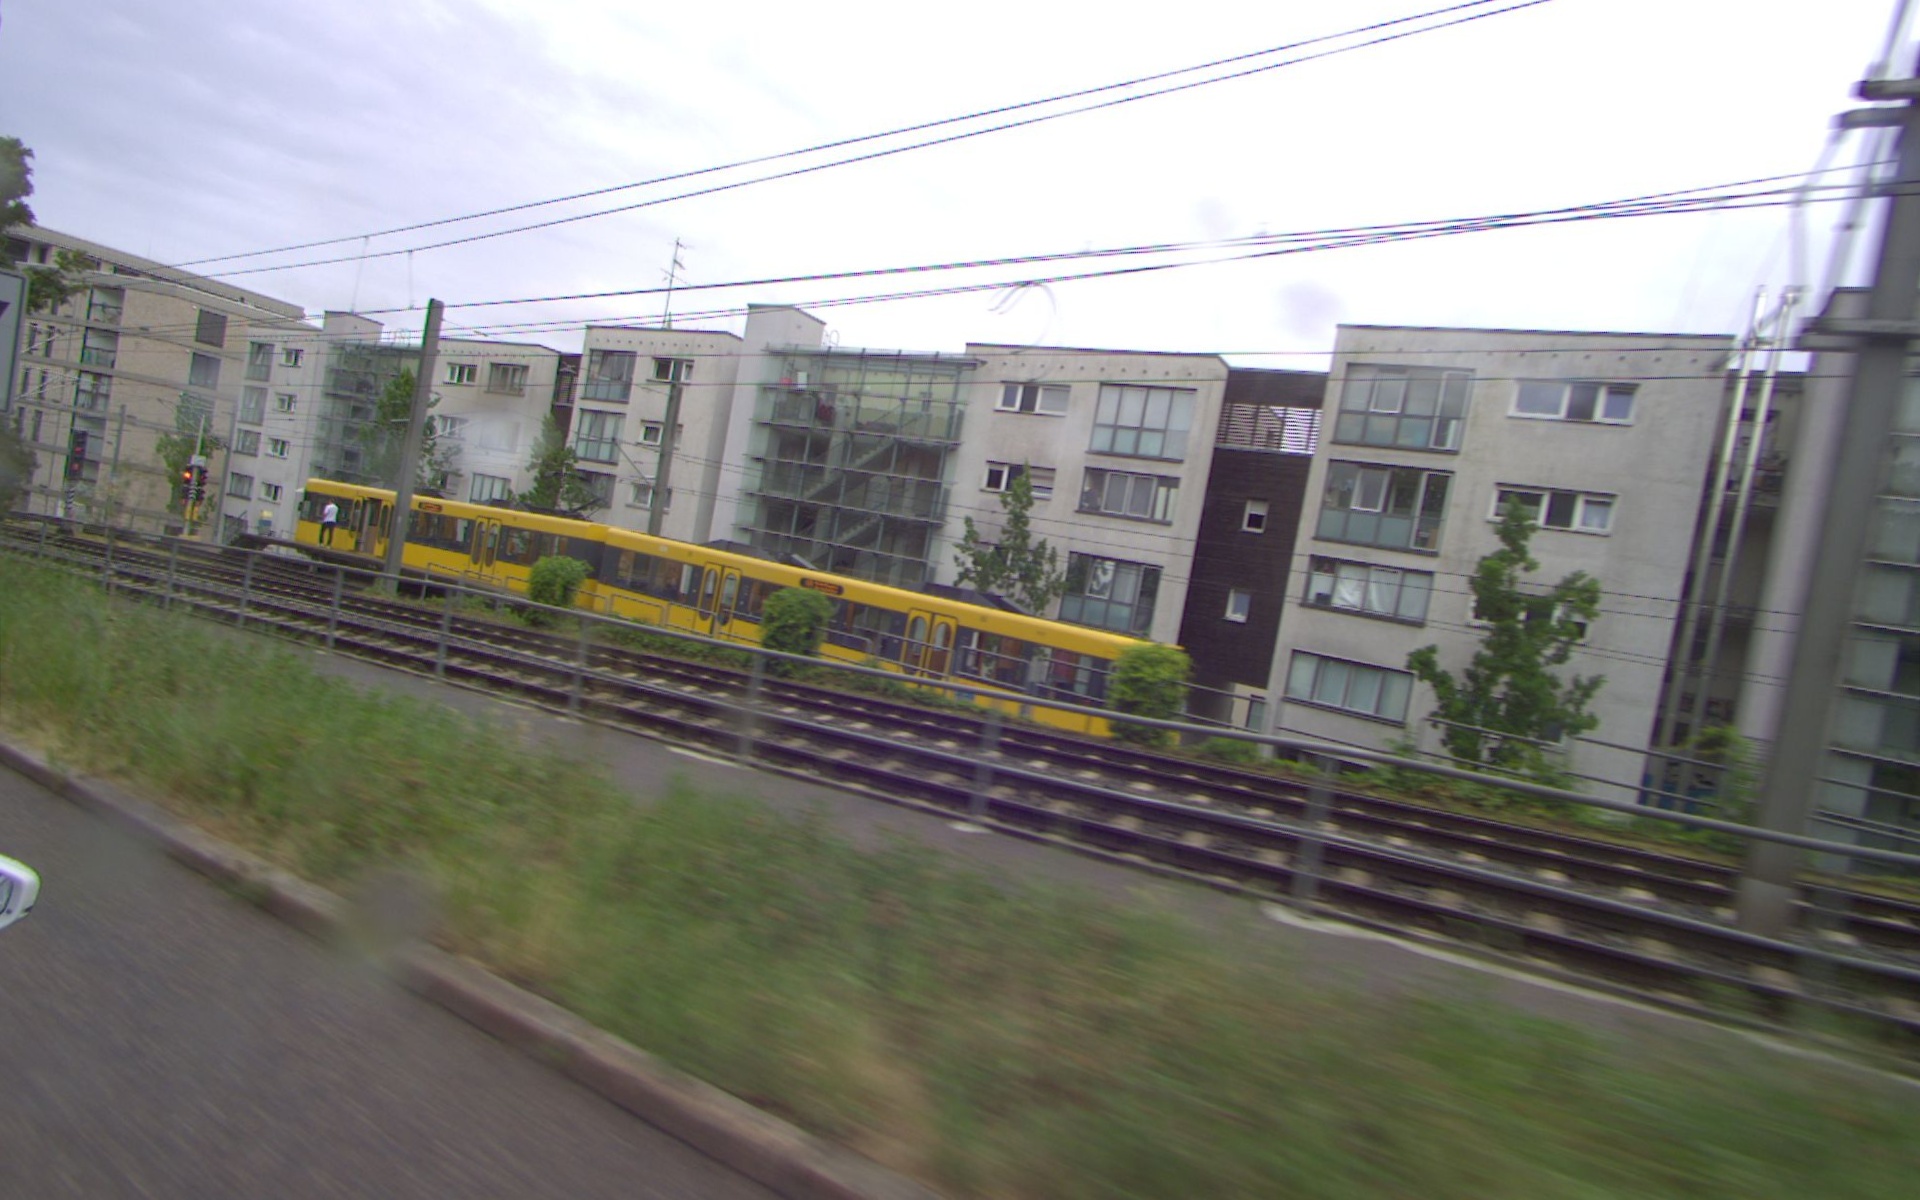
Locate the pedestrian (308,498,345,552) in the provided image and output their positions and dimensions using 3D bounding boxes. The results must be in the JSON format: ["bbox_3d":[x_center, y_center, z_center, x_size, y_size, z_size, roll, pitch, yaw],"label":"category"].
[{"bbox_3d":[-23.730,-2.799,37.667,0.804,1.903,0.722,6,-1,32],"label":"pedestrian"}]

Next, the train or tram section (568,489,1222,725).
[{"bbox_3d":[-2.909,-0.247,27.339,18.959,3.994,3.336,7,-1,32],"label":"train or tram section"}]

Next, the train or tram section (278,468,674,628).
[{"bbox_3d":[-18.453,-2.194,36.973,18.499,3.994,3.336,7,-1,32],"label":"train or tram section"}]
